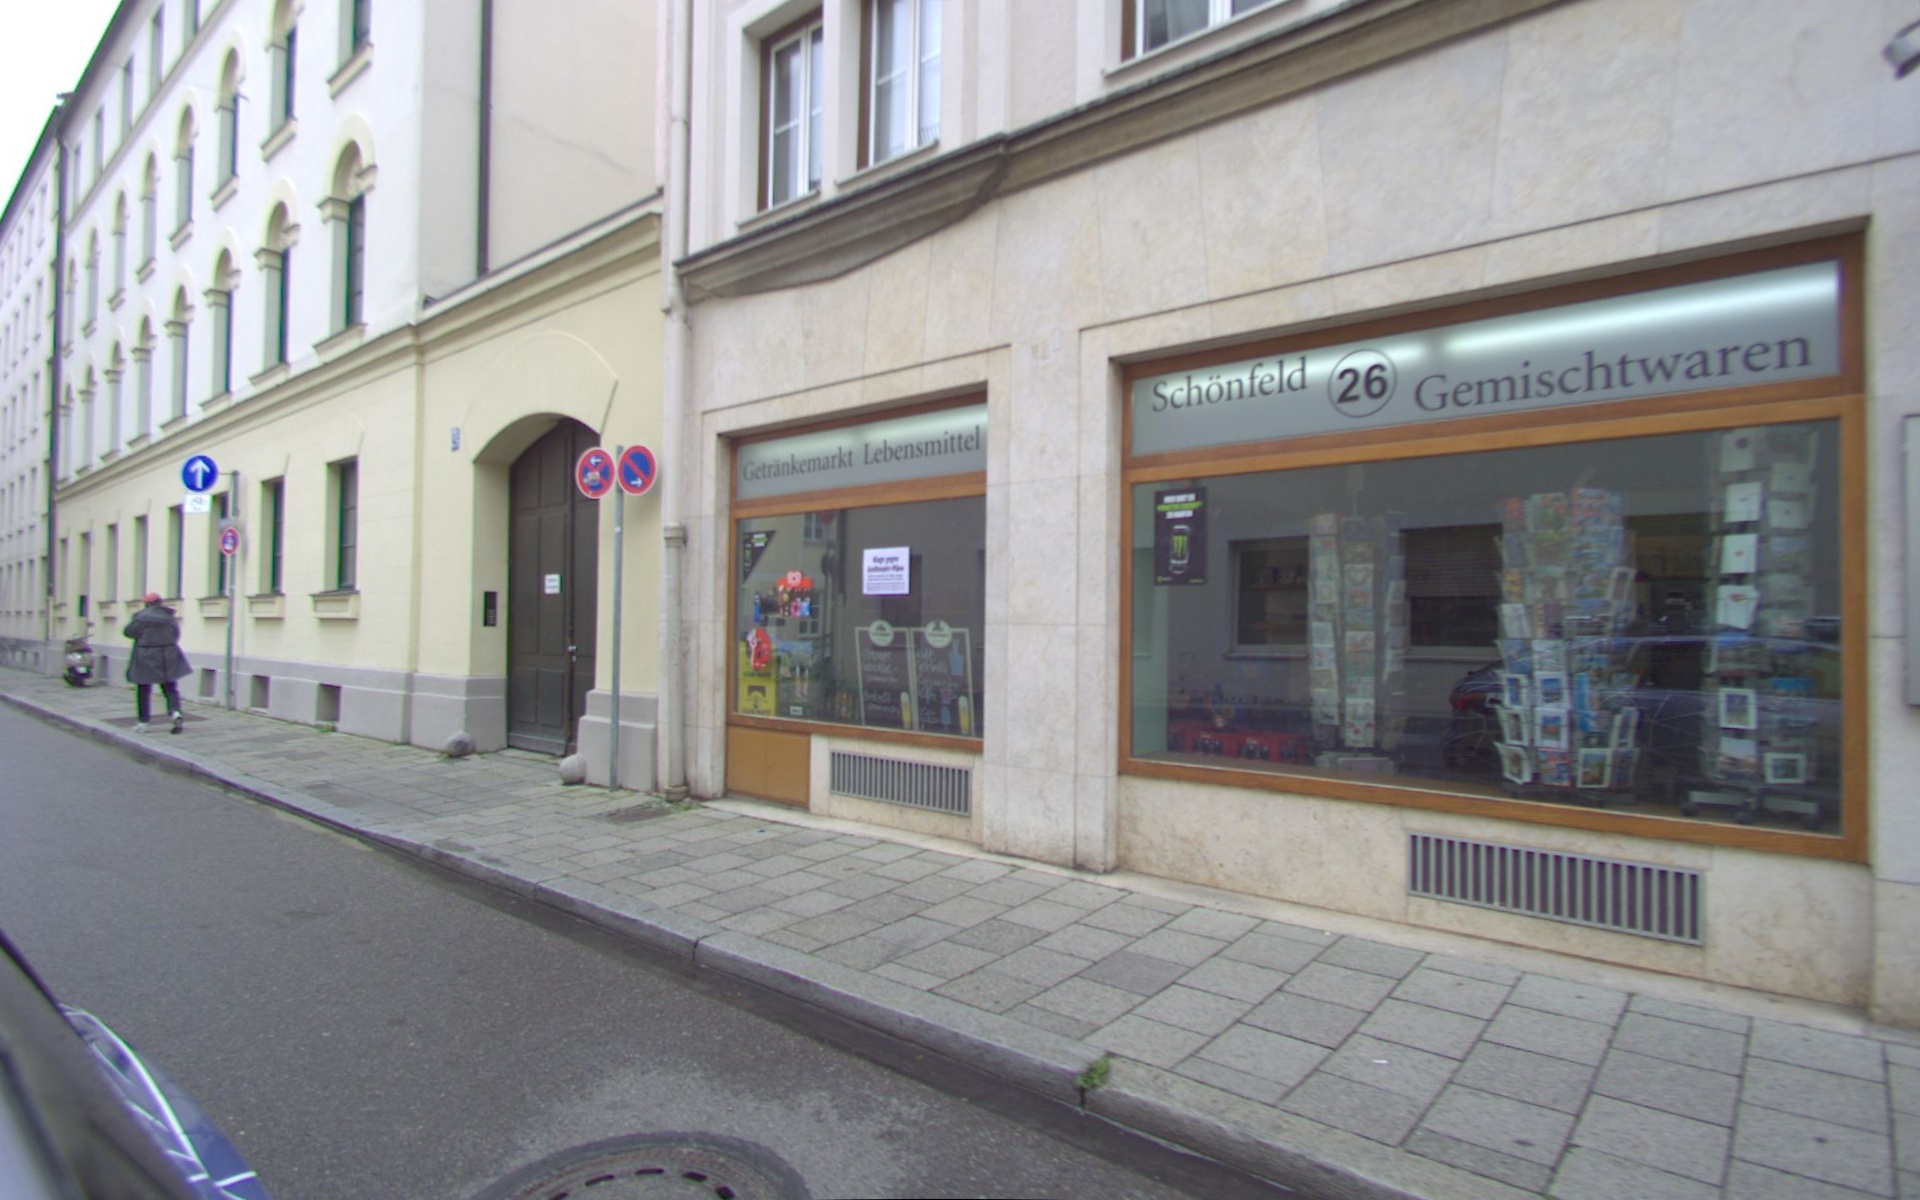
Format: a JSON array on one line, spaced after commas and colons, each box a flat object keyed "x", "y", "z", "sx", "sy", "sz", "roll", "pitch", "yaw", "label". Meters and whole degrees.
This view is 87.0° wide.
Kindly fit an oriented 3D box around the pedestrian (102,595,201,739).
[{"x": -10.442, "y": 0.854, "z": 13.076, "sx": 0.988, "sy": 1.769, "sz": 0.801, "roll": -3, "pitch": -3, "yaw": 38, "label": "pedestrian"}]

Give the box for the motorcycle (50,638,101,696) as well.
[{"x": -19.113, "y": 1.423, "z": 21.851, "sx": 1.708, "sy": 1.183, "sz": 0.596, "roll": -2, "pitch": -2, "yaw": 41, "label": "motorcycle"}]
